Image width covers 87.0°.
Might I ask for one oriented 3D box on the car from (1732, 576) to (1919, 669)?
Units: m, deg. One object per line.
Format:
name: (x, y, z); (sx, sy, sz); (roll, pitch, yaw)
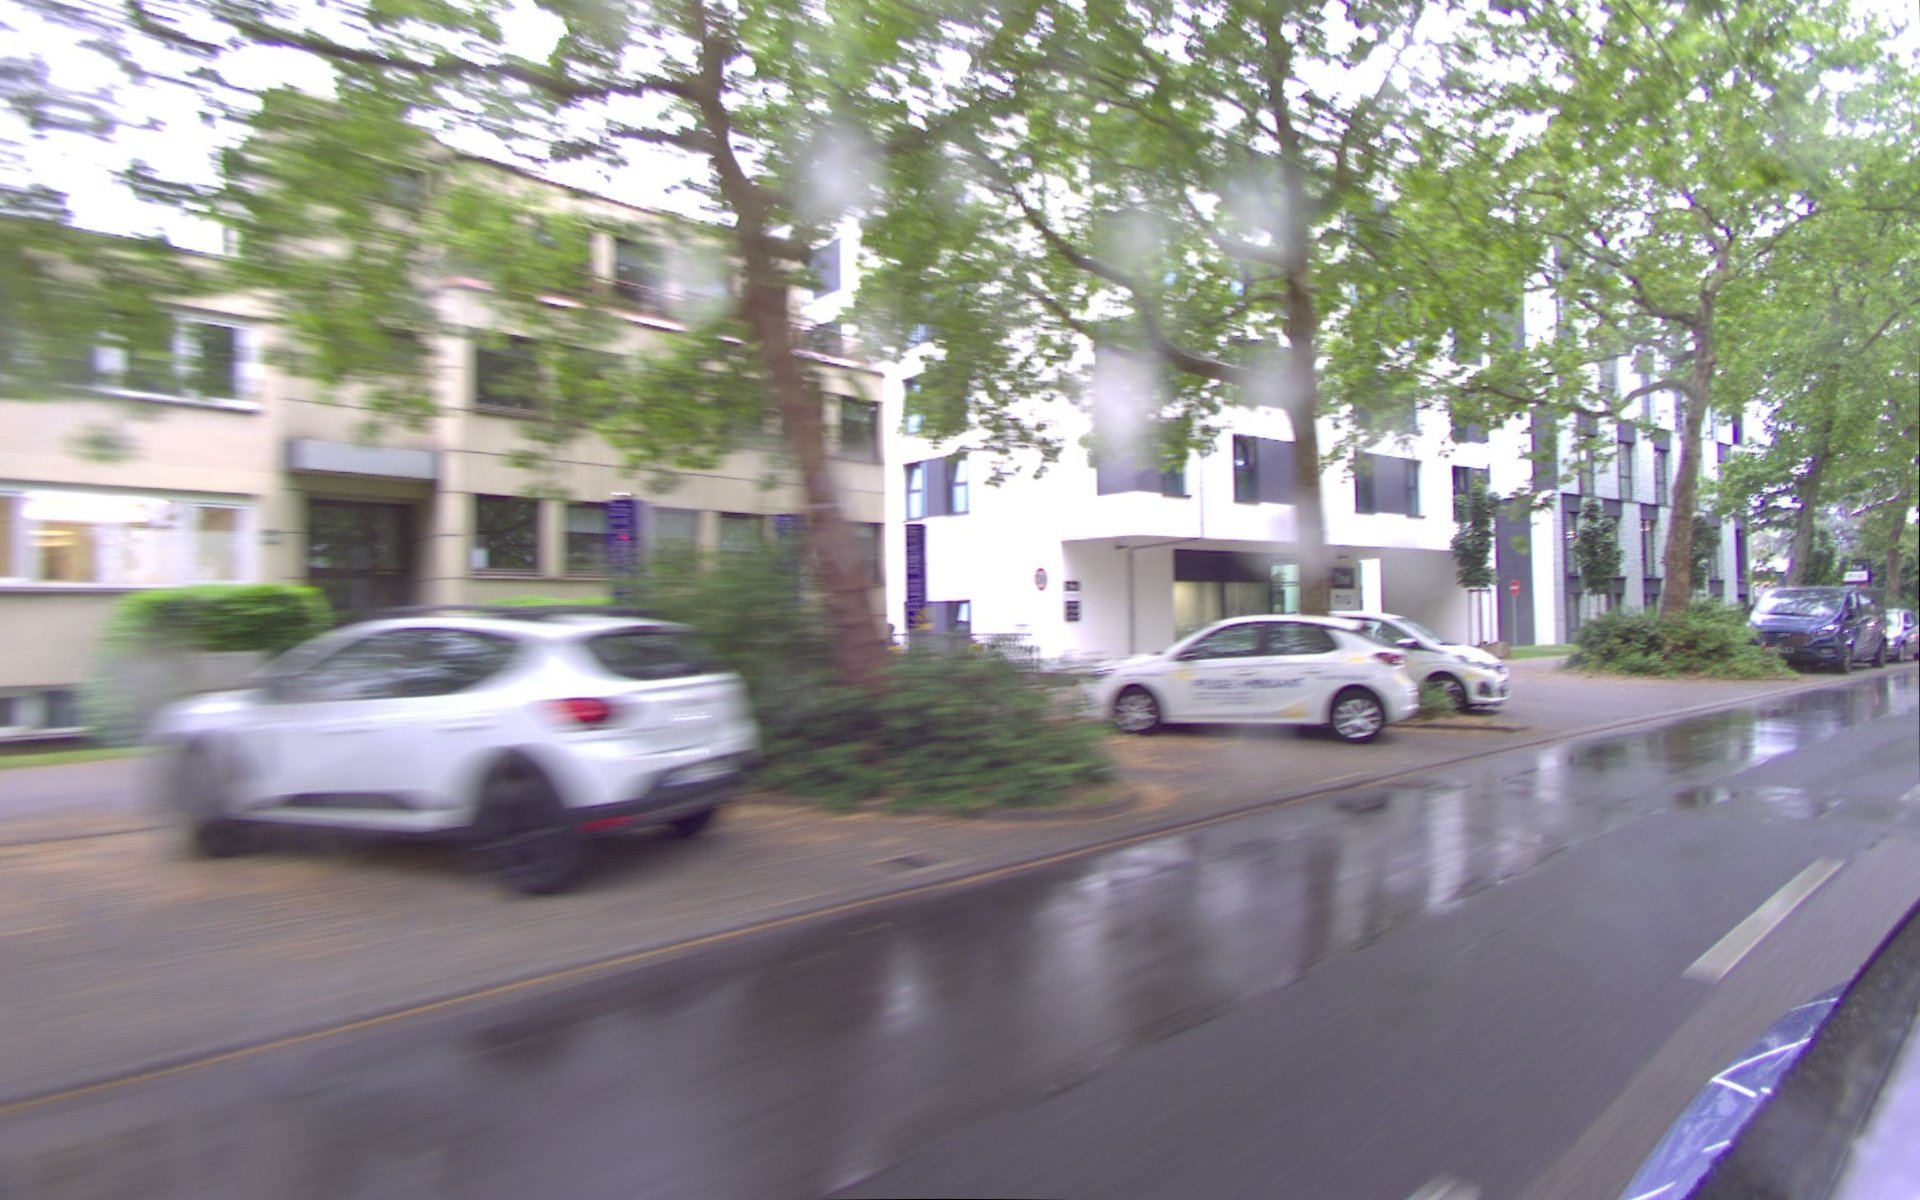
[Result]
car: (21.175, 0.499, 24.686); (5.422, 2.054, 2.128); (0, -1, -35)

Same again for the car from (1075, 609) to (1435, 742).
car: (3.584, 0.861, 12.548); (3.988, 1.446, 1.737); (-1, -1, 21)

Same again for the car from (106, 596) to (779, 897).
car: (-3.394, 0.792, 6.744); (3.986, 1.559, 1.738); (-1, -1, 19)

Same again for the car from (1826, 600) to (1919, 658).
car: (26.065, 0.768, 28.310); (4.224, 1.488, 1.749); (0, -1, -35)

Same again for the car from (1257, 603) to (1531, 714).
car: (6.678, 0.822, 15.696); (3.625, 1.524, 1.726); (0, -2, 37)

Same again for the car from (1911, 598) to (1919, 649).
car: (31.585, 0.699, 31.711); (4.288, 1.586, 1.749); (0, -1, -35)
